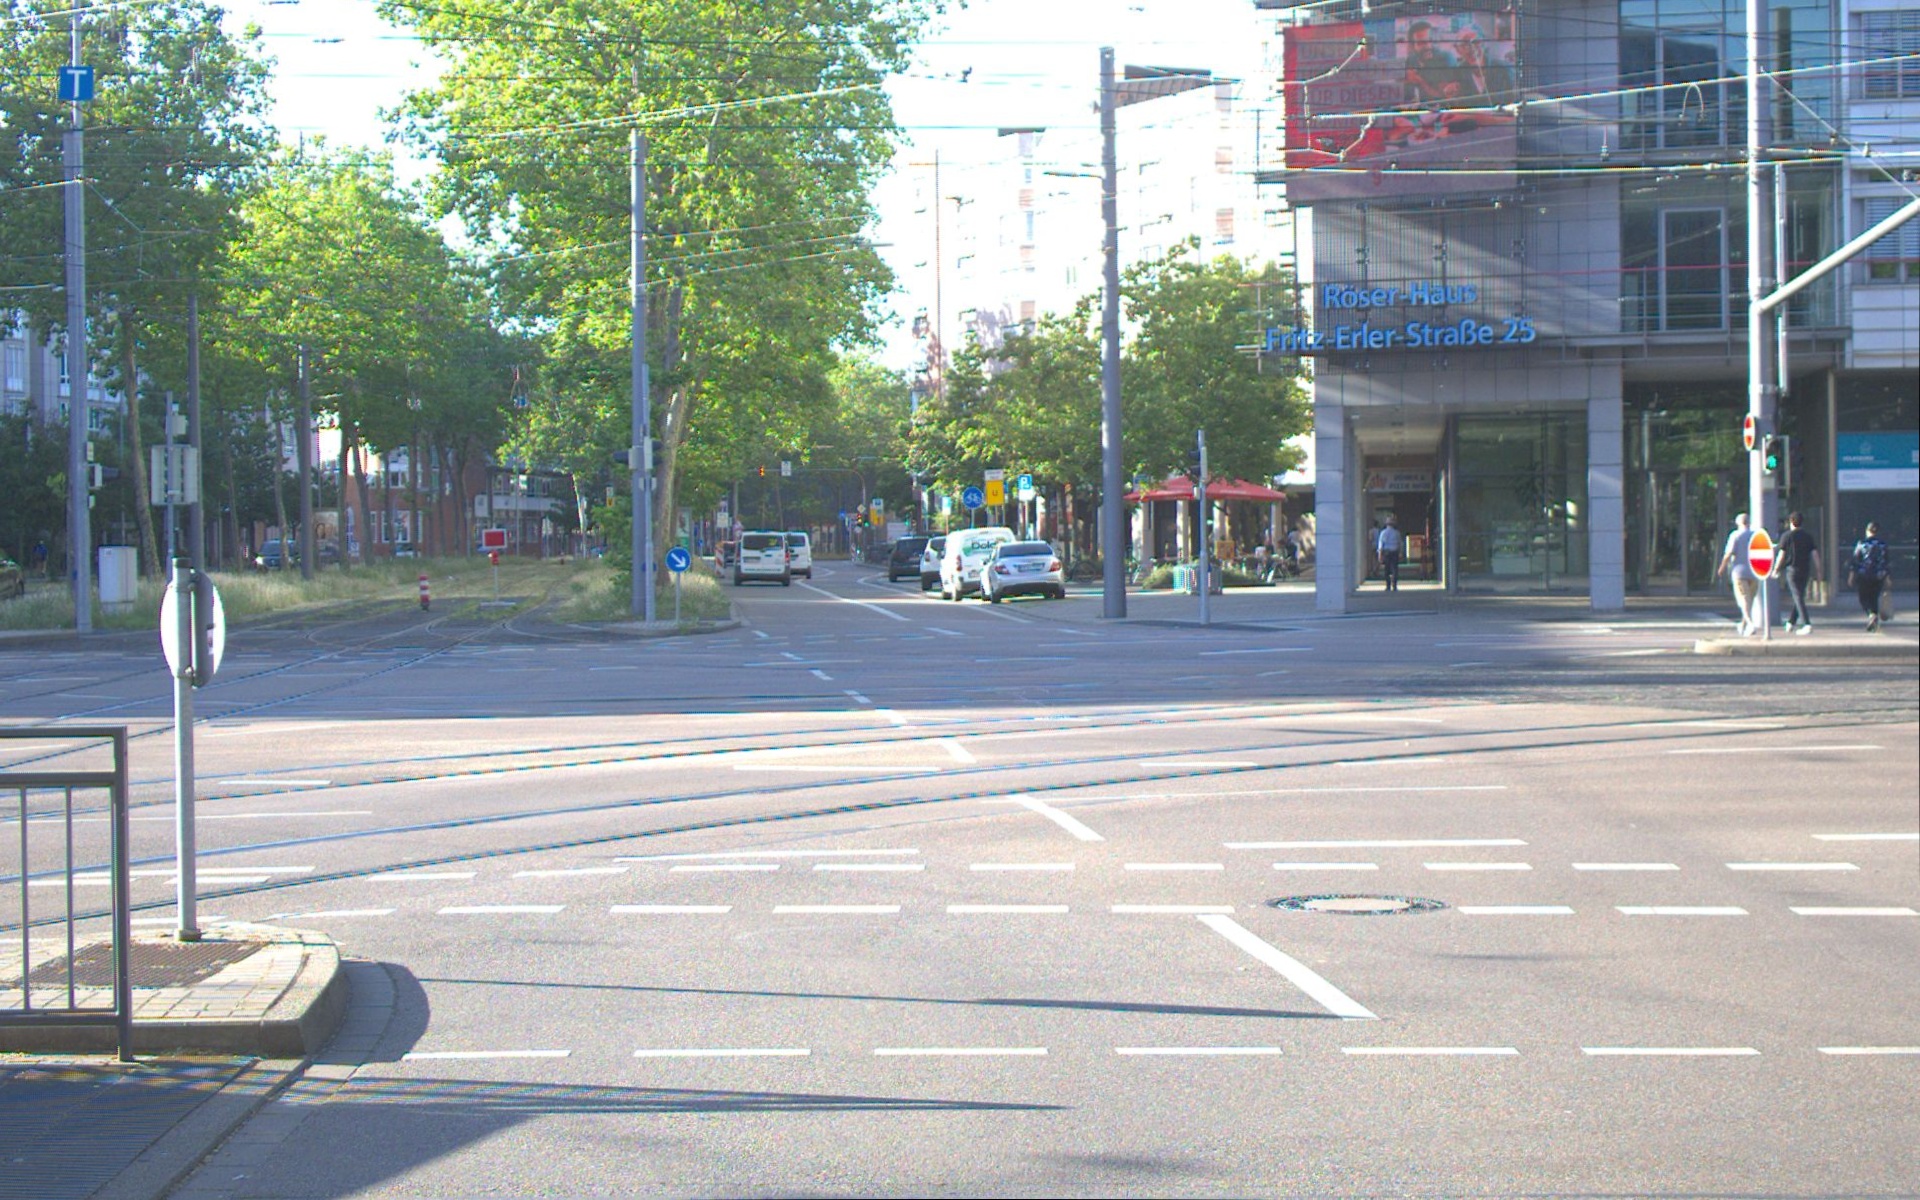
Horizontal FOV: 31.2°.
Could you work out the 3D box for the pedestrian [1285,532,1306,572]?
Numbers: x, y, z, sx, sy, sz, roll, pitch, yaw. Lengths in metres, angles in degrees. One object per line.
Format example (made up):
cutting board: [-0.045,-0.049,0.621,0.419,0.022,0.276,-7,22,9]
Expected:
pedestrian: [10.740,-1.538,110.023,0.577,1.284,0.910,-1,1,-1]

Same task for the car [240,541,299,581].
car: [-32.547,-1.843,162.093,1.993,1.809,4.000,-1,1,-1]

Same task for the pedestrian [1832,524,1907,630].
pedestrian: [13.657,-0.350,51.623,0.948,1.558,0.897,-1,1,6]

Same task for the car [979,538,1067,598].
car: [1.491,-0.786,82.765,1.993,1.371,4.000,-1,1,-1]

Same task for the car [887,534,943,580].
car: [-1.645,-1.598,126.656,1.993,1.612,4.000,-1,1,0]

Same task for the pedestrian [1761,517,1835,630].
pedestrian: [12.666,-0.410,51.971,0.912,1.679,1.035,-1,1,4]

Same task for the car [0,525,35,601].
car: [-21.667,-0.800,74.913,1.993,1.634,4.000,-1,1,-1]

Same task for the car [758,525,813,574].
car: [-6.900,-2.008,136.218,1.993,1.905,4.000,-1,1,-1]

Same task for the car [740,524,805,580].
car: [-6.396,-1.660,117.693,1.961,1.842,5.330,-1,1,0]

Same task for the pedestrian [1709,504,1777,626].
pedestrian: [11.582,-0.521,50.845,0.864,1.782,0.871,-1,1,6]

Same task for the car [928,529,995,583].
car: [0.034,-1.359,105.206,1.993,1.612,4.000,-1,1,0]

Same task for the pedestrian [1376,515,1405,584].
pedestrian: [9.545,-1.122,76.189,0.612,1.502,0.579,-1,1,8]

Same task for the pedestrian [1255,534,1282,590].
pedestrian: [9.428,-1.169,104.943,0.744,1.708,0.612,-1,1,-1]

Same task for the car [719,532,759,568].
car: [-12.563,-2.833,195.654,1.993,2.007,4.000,-1,1,-1]

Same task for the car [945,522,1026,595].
car: [0.646,-1.096,89.560,1.993,1.853,4.000,-1,1,-1]
